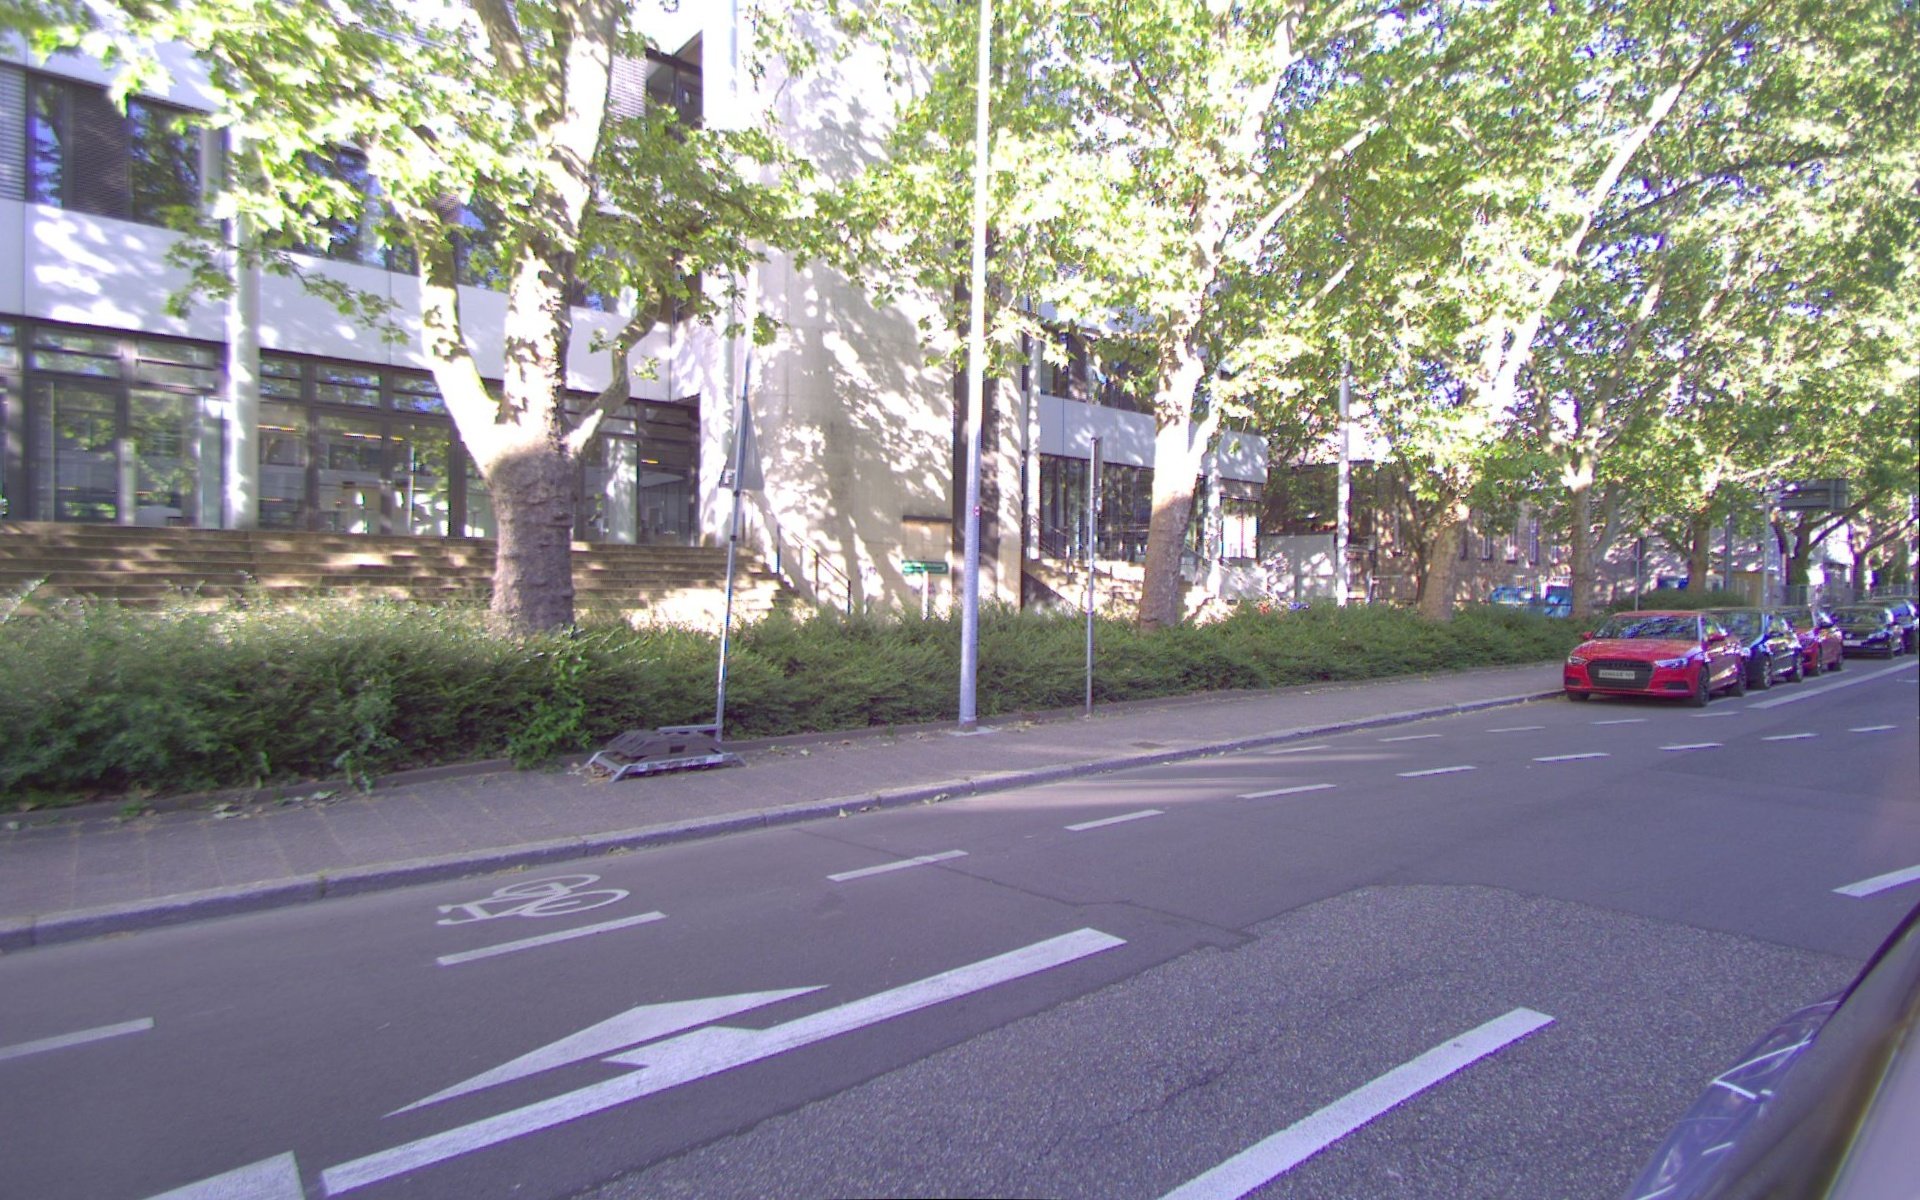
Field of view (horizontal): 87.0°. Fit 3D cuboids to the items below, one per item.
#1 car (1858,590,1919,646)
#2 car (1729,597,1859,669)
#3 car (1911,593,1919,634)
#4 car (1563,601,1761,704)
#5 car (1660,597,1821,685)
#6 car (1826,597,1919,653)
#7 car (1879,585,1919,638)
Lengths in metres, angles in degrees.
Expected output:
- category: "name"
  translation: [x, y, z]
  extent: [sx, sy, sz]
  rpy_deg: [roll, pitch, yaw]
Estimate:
- category: "car"
  translation: [29.514, 0.520, 31.651]
  extent: [3.770, 1.640, 1.684]
  rpy_deg: [0, 1, -41]
- category: "car"
  translation: [18.611, 0.672, 22.537]
  extent: [3.715, 1.452, 1.664]
  rpy_deg: [0, 1, -41]
- category: "car"
  translation: [38.706, 0.508, 39.723]
  extent: [3.801, 1.581, 1.684]
  rpy_deg: [0, 1, -41]
- category: "car"
  translation: [11.245, 0.752, 16.115]
  extent: [3.962, 1.439, 1.722]
  rpy_deg: [0, -2, -42]
- category: "car"
  translation: [14.810, 0.701, 19.142]
  extent: [3.930, 1.485, 1.684]
  rpy_deg: [0, 0, -41]
- category: "car"
  translation: [26.013, 0.652, 28.697]
  extent: [3.930, 1.469, 1.684]
  rpy_deg: [0, 1, -41]
- category: "car"
  translation: [33.969, 0.387, 35.707]
  extent: [4.354, 1.790, 1.818]
  rpy_deg: [0, 1, -41]
